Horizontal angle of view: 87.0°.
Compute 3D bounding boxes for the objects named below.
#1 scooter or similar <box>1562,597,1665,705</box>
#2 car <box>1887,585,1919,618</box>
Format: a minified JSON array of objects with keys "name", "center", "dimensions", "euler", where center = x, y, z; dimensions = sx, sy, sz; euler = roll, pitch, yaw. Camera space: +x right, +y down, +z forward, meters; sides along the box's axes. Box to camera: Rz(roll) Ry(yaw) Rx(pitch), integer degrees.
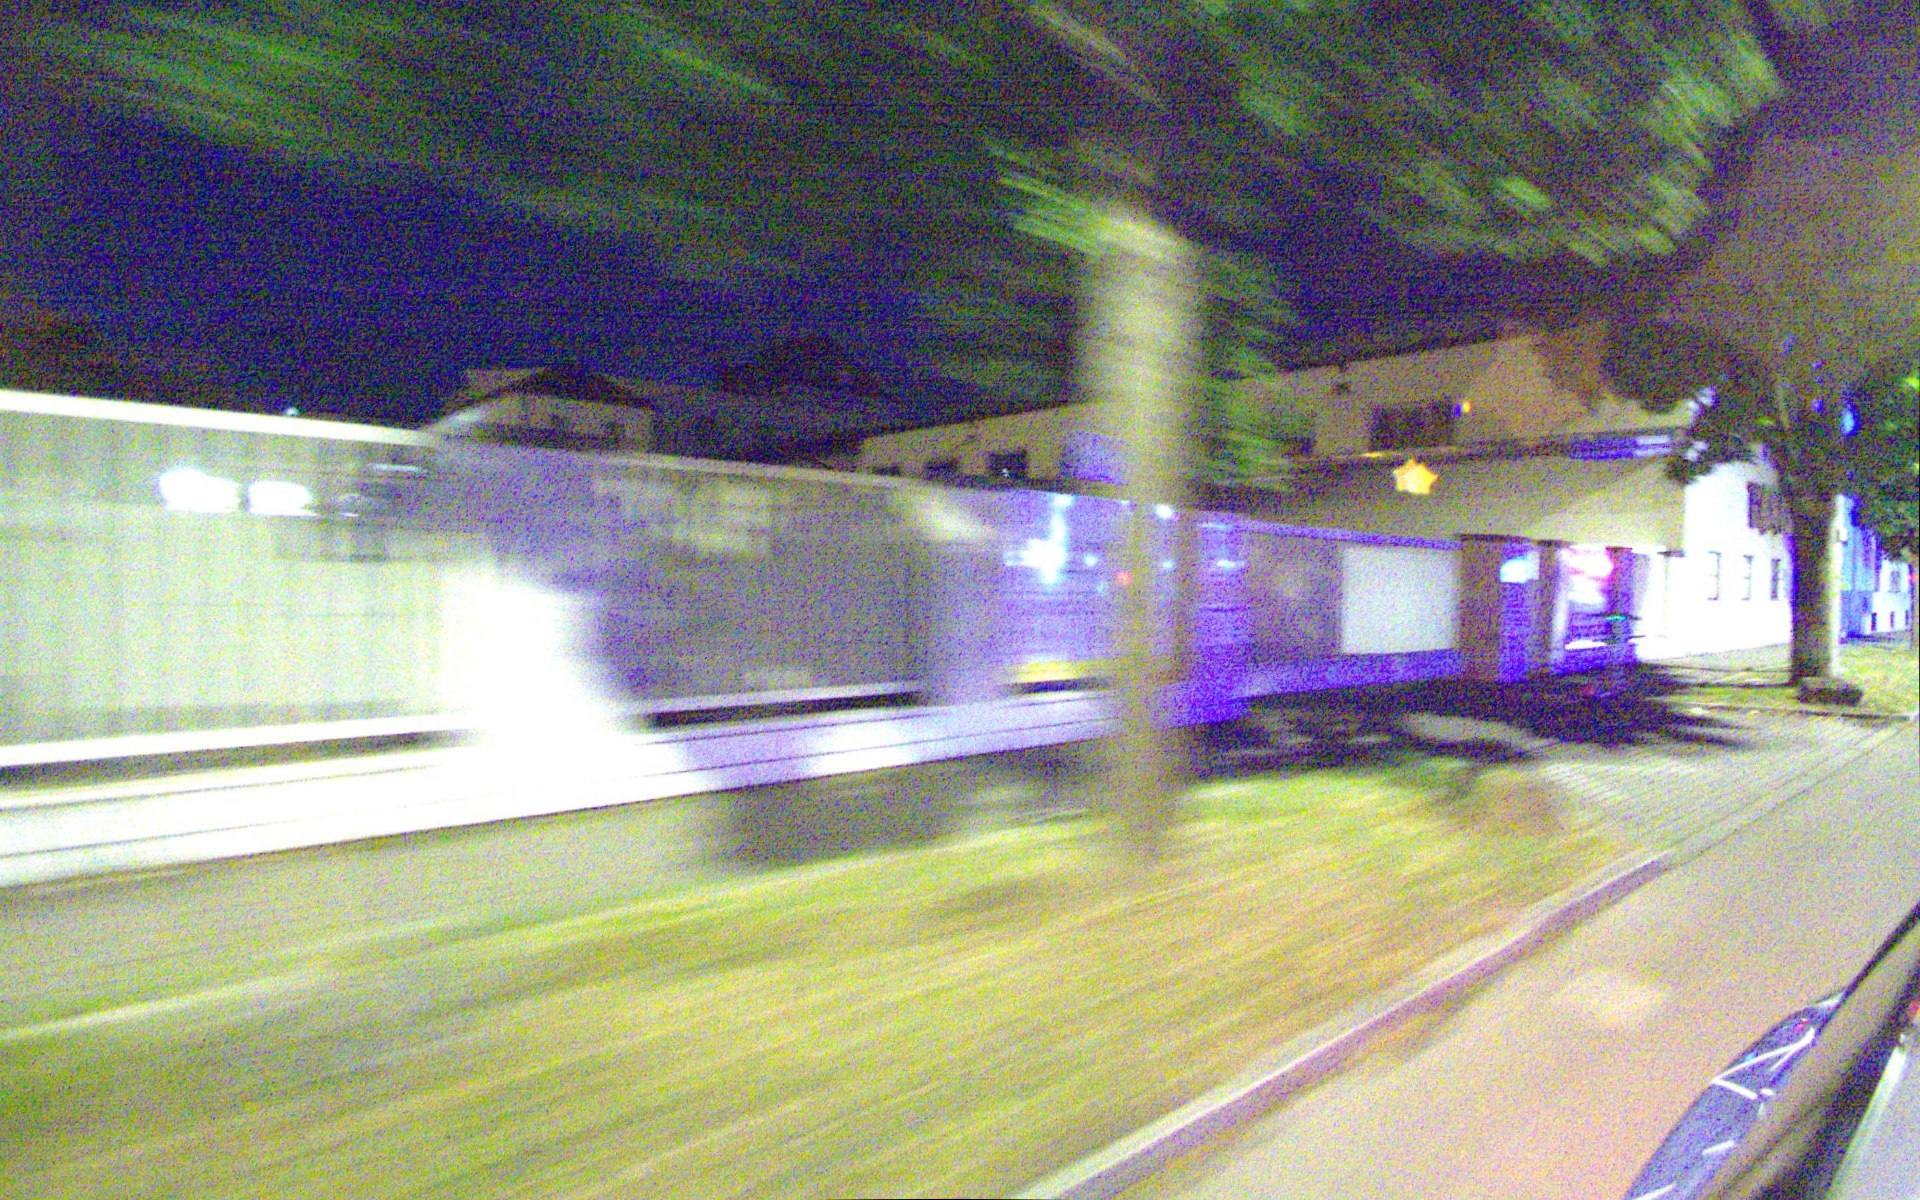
[{"name":"scooter or similar","center":[8.470,0.624,13.086],"dimensions":[1.878,1.217,0.548],"euler":[-2,5,-41]},{"name":"car","center":[57.431,0.128,59.551],"dimensions":[1.821,1.882,4.081],"euler":[0,2,-40]}]
